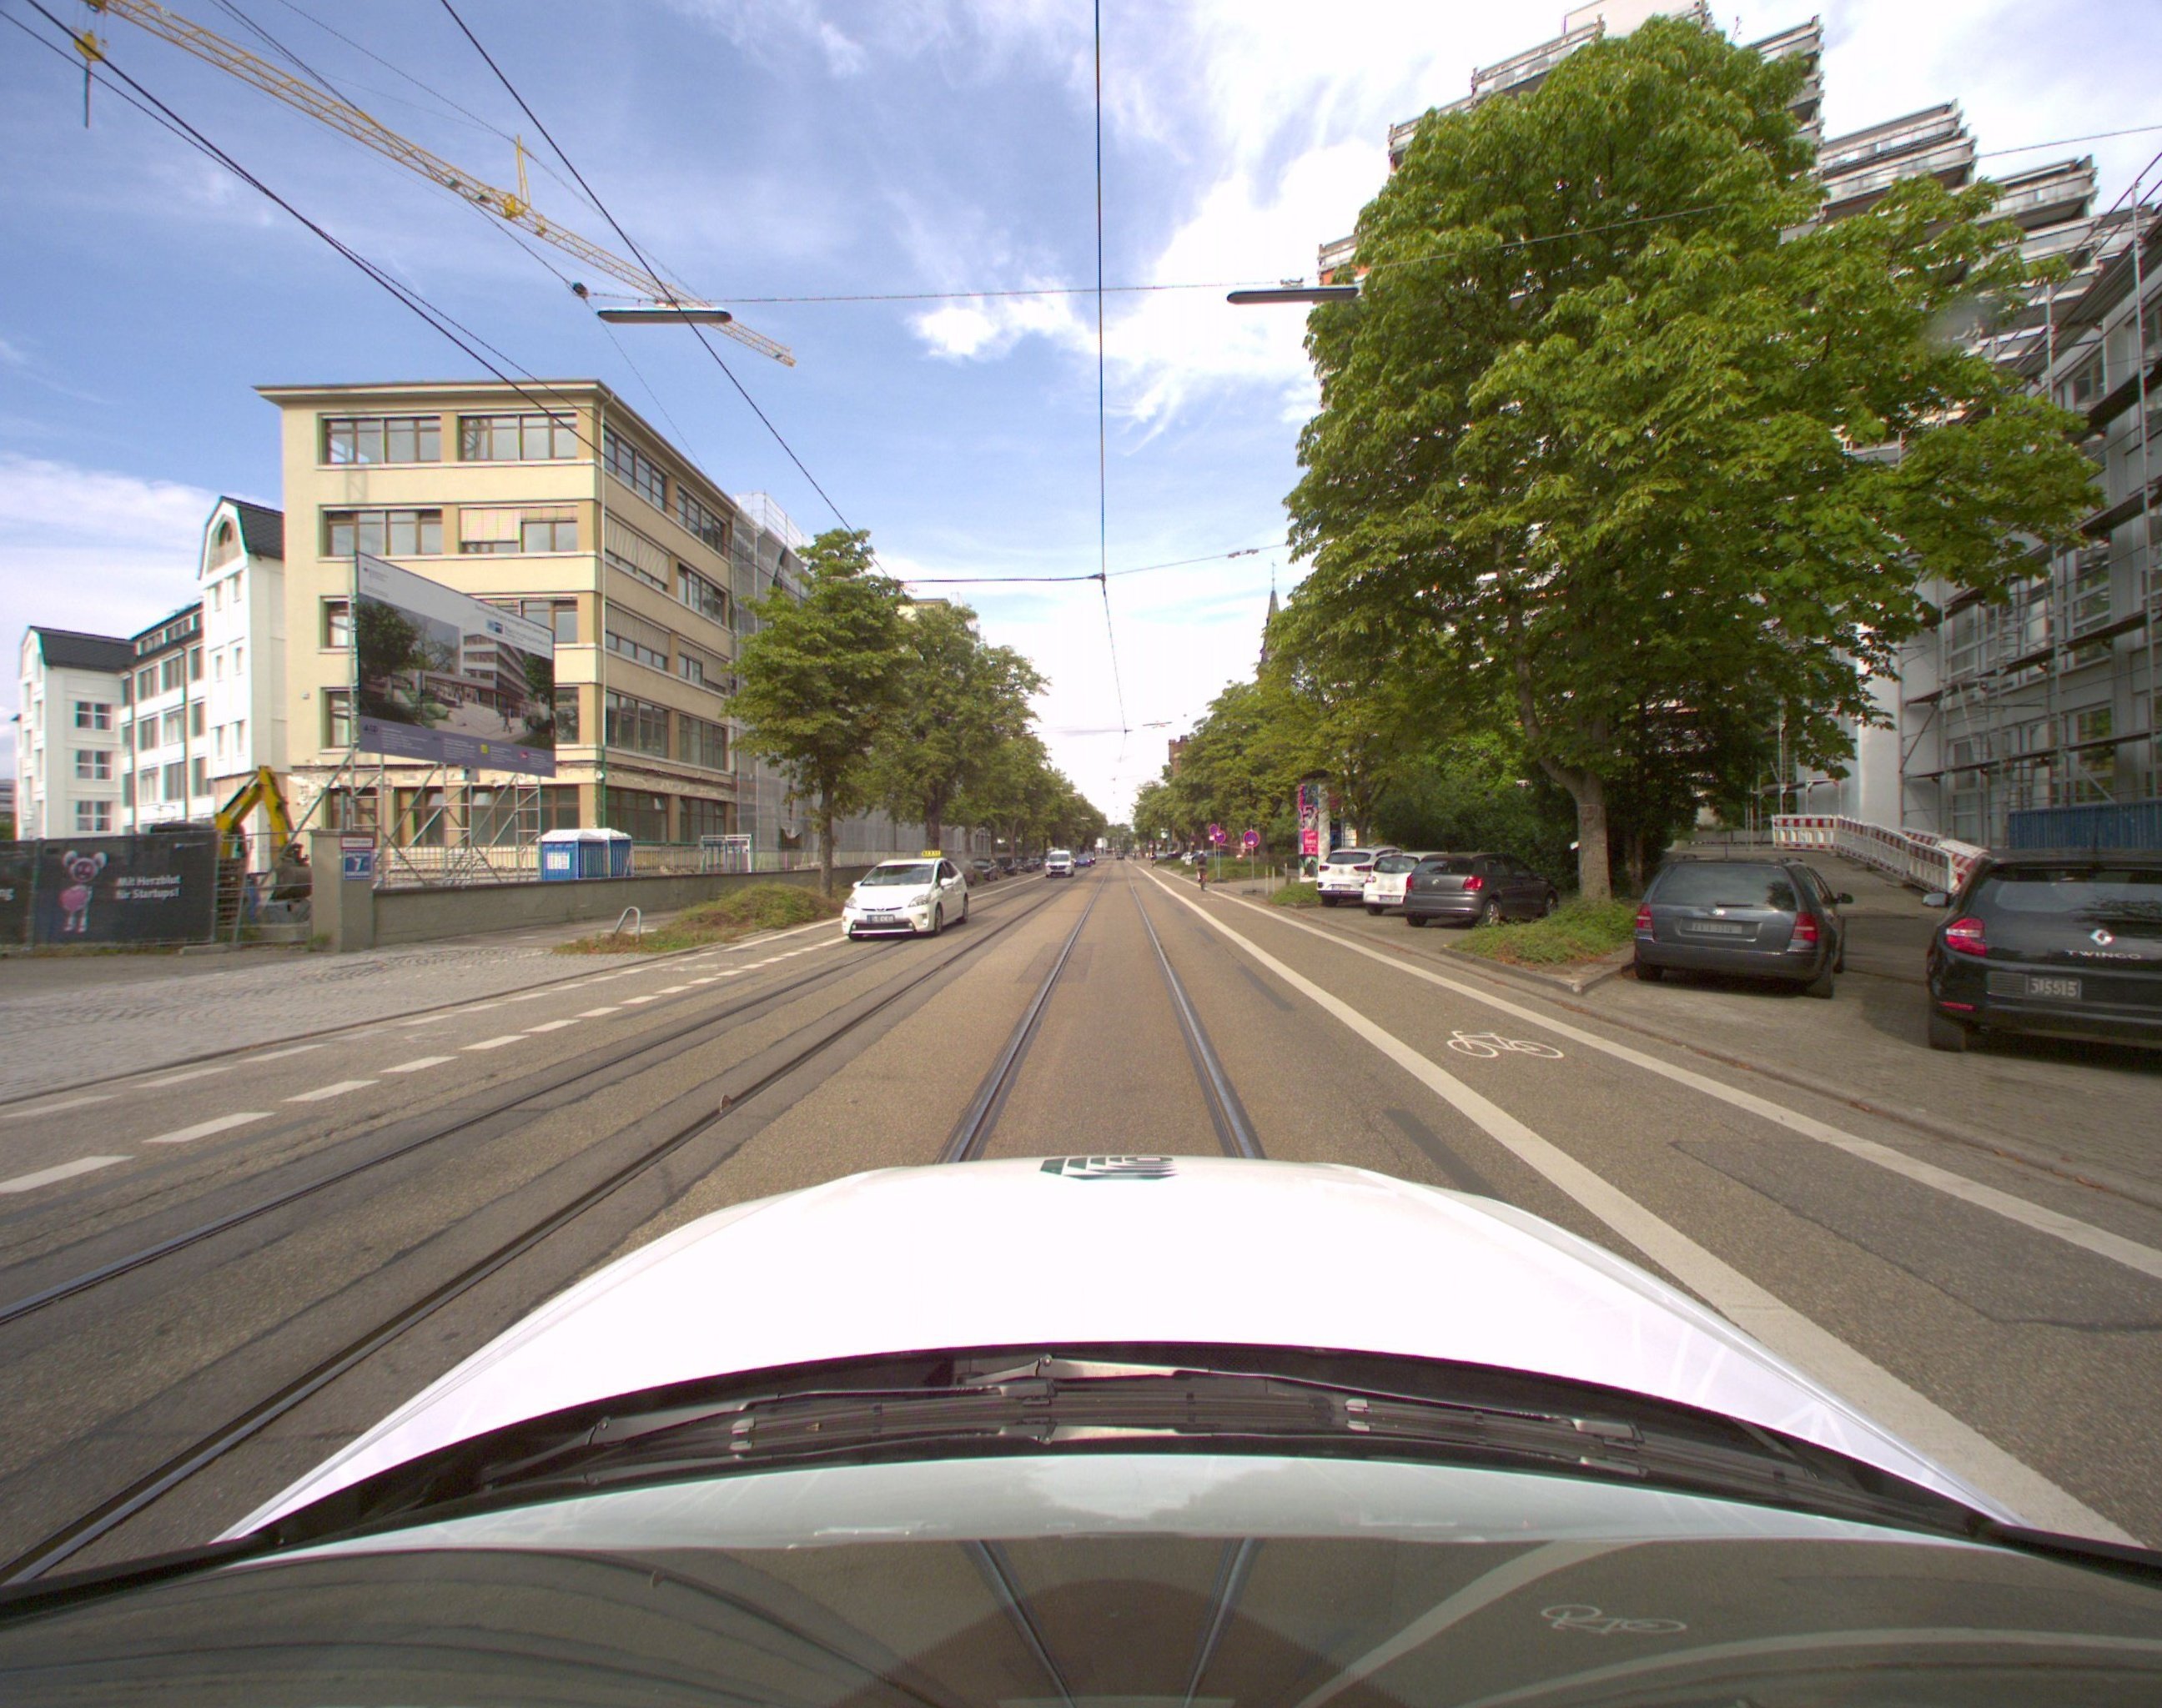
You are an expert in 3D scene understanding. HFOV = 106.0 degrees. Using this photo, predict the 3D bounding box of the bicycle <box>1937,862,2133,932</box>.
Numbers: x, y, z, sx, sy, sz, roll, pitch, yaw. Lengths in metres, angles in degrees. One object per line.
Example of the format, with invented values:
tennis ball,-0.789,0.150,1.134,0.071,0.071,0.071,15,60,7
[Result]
bicycle,15.119,0.649,12.993,1.952,1.043,0.598,0,0,39

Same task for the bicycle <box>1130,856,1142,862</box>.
bicycle,11.316,1.013,167.230,2.260,1.189,0.771,-1,0,10

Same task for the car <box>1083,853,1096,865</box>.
car,1.254,0.674,114.773,1.726,1.628,4.380,-2,0,2

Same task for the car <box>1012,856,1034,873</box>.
car,-5.170,0.926,73.014,1.585,1.402,3.962,0,0,0

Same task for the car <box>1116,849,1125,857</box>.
car,8.490,-0.208,175.337,1.788,1.824,4.680,0,0,2

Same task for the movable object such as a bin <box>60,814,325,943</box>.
movable object such as a bin,-18.348,0.492,16.958,3.030,2.443,2.506,-1,-1,12

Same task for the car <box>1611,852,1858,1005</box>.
car,7.886,0.699,9.674,4.194,1.415,1.794,0,-1,-45

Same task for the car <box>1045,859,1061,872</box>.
car,-3.169,1.272,93.391,1.585,1.402,3.962,0,0,0

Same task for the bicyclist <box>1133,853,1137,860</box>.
bicyclist,11.050,0.490,167.274,0.841,1.504,0.771,-1,0,9

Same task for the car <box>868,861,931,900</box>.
car,-7.167,1.017,32.562,1.585,1.402,3.962,0,0,0

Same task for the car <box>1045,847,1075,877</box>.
car,-1.352,0.501,54.413,1.725,1.884,4.380,-1,0,2

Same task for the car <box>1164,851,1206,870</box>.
car,9.012,0.528,70.488,3.667,1.602,1.661,0,-1,-43

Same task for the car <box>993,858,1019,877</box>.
car,-5.775,0.995,62.722,1.585,1.402,3.962,0,0,0

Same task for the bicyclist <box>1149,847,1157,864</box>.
bicyclist,6.767,0.141,76.381,0.656,1.496,0.930,-1,0,3

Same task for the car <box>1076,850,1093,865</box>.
car,0.396,0.380,90.001,1.725,1.496,4.381,-1,0,2

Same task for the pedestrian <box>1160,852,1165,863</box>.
pedestrian,14.411,0.613,144.451,0.742,1.790,0.734,-1,-1,17

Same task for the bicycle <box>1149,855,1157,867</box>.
bicycle,6.767,0.663,76.374,0.661,1.043,1.842,-1,0,3

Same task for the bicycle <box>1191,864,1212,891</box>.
bicycle,5.002,0.952,33.774,0.591,1.043,1.978,-1,0,0

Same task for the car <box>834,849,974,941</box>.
car,-3.477,0.735,16.815,1.725,1.612,4.337,-1,0,2

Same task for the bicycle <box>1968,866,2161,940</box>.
bicycle,14.754,0.700,12.158,1.952,1.043,0.598,-1,0,30

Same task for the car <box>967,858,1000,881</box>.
car,-6.231,0.952,52.414,1.585,1.402,3.962,0,0,0

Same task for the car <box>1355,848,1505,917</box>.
car,8.299,0.621,19.261,3.663,1.474,1.663,0,-1,-37

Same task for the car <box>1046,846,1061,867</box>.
car,-3.529,0.338,106.774,1.715,2.704,5.470,0,0,0

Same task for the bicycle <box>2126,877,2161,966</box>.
bicycle,13.618,0.783,9.420,1.817,1.043,0.456,-2,-1,31

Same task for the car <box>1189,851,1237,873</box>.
car,10.003,0.595,61.511,3.667,1.602,1.661,0,-1,-43

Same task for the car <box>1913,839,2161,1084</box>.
car,7.891,0.663,6.486,3.436,1.537,1.577,-1,0,-41

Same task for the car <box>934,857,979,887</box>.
car,-6.548,0.944,43.214,1.629,1.496,3.964,0,0,2

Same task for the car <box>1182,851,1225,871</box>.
car,10.323,0.596,68.306,3.667,1.602,1.661,0,-1,-43

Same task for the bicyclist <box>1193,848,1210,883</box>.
bicyclist,5.001,0.470,33.783,0.591,1.459,0.875,-1,0,0

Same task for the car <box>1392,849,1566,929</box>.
car,8.028,0.637,16.338,3.663,1.419,1.663,0,-1,-37

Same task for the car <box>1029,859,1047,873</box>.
car,-4.370,1.196,83.220,1.585,1.402,3.962,0,0,0

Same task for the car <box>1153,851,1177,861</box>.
car,14.866,0.398,144.620,3.978,1.693,1.998,-1,0,-3

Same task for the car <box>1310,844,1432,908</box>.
car,8.055,0.559,22.486,3.667,1.602,1.661,0,-1,-43
